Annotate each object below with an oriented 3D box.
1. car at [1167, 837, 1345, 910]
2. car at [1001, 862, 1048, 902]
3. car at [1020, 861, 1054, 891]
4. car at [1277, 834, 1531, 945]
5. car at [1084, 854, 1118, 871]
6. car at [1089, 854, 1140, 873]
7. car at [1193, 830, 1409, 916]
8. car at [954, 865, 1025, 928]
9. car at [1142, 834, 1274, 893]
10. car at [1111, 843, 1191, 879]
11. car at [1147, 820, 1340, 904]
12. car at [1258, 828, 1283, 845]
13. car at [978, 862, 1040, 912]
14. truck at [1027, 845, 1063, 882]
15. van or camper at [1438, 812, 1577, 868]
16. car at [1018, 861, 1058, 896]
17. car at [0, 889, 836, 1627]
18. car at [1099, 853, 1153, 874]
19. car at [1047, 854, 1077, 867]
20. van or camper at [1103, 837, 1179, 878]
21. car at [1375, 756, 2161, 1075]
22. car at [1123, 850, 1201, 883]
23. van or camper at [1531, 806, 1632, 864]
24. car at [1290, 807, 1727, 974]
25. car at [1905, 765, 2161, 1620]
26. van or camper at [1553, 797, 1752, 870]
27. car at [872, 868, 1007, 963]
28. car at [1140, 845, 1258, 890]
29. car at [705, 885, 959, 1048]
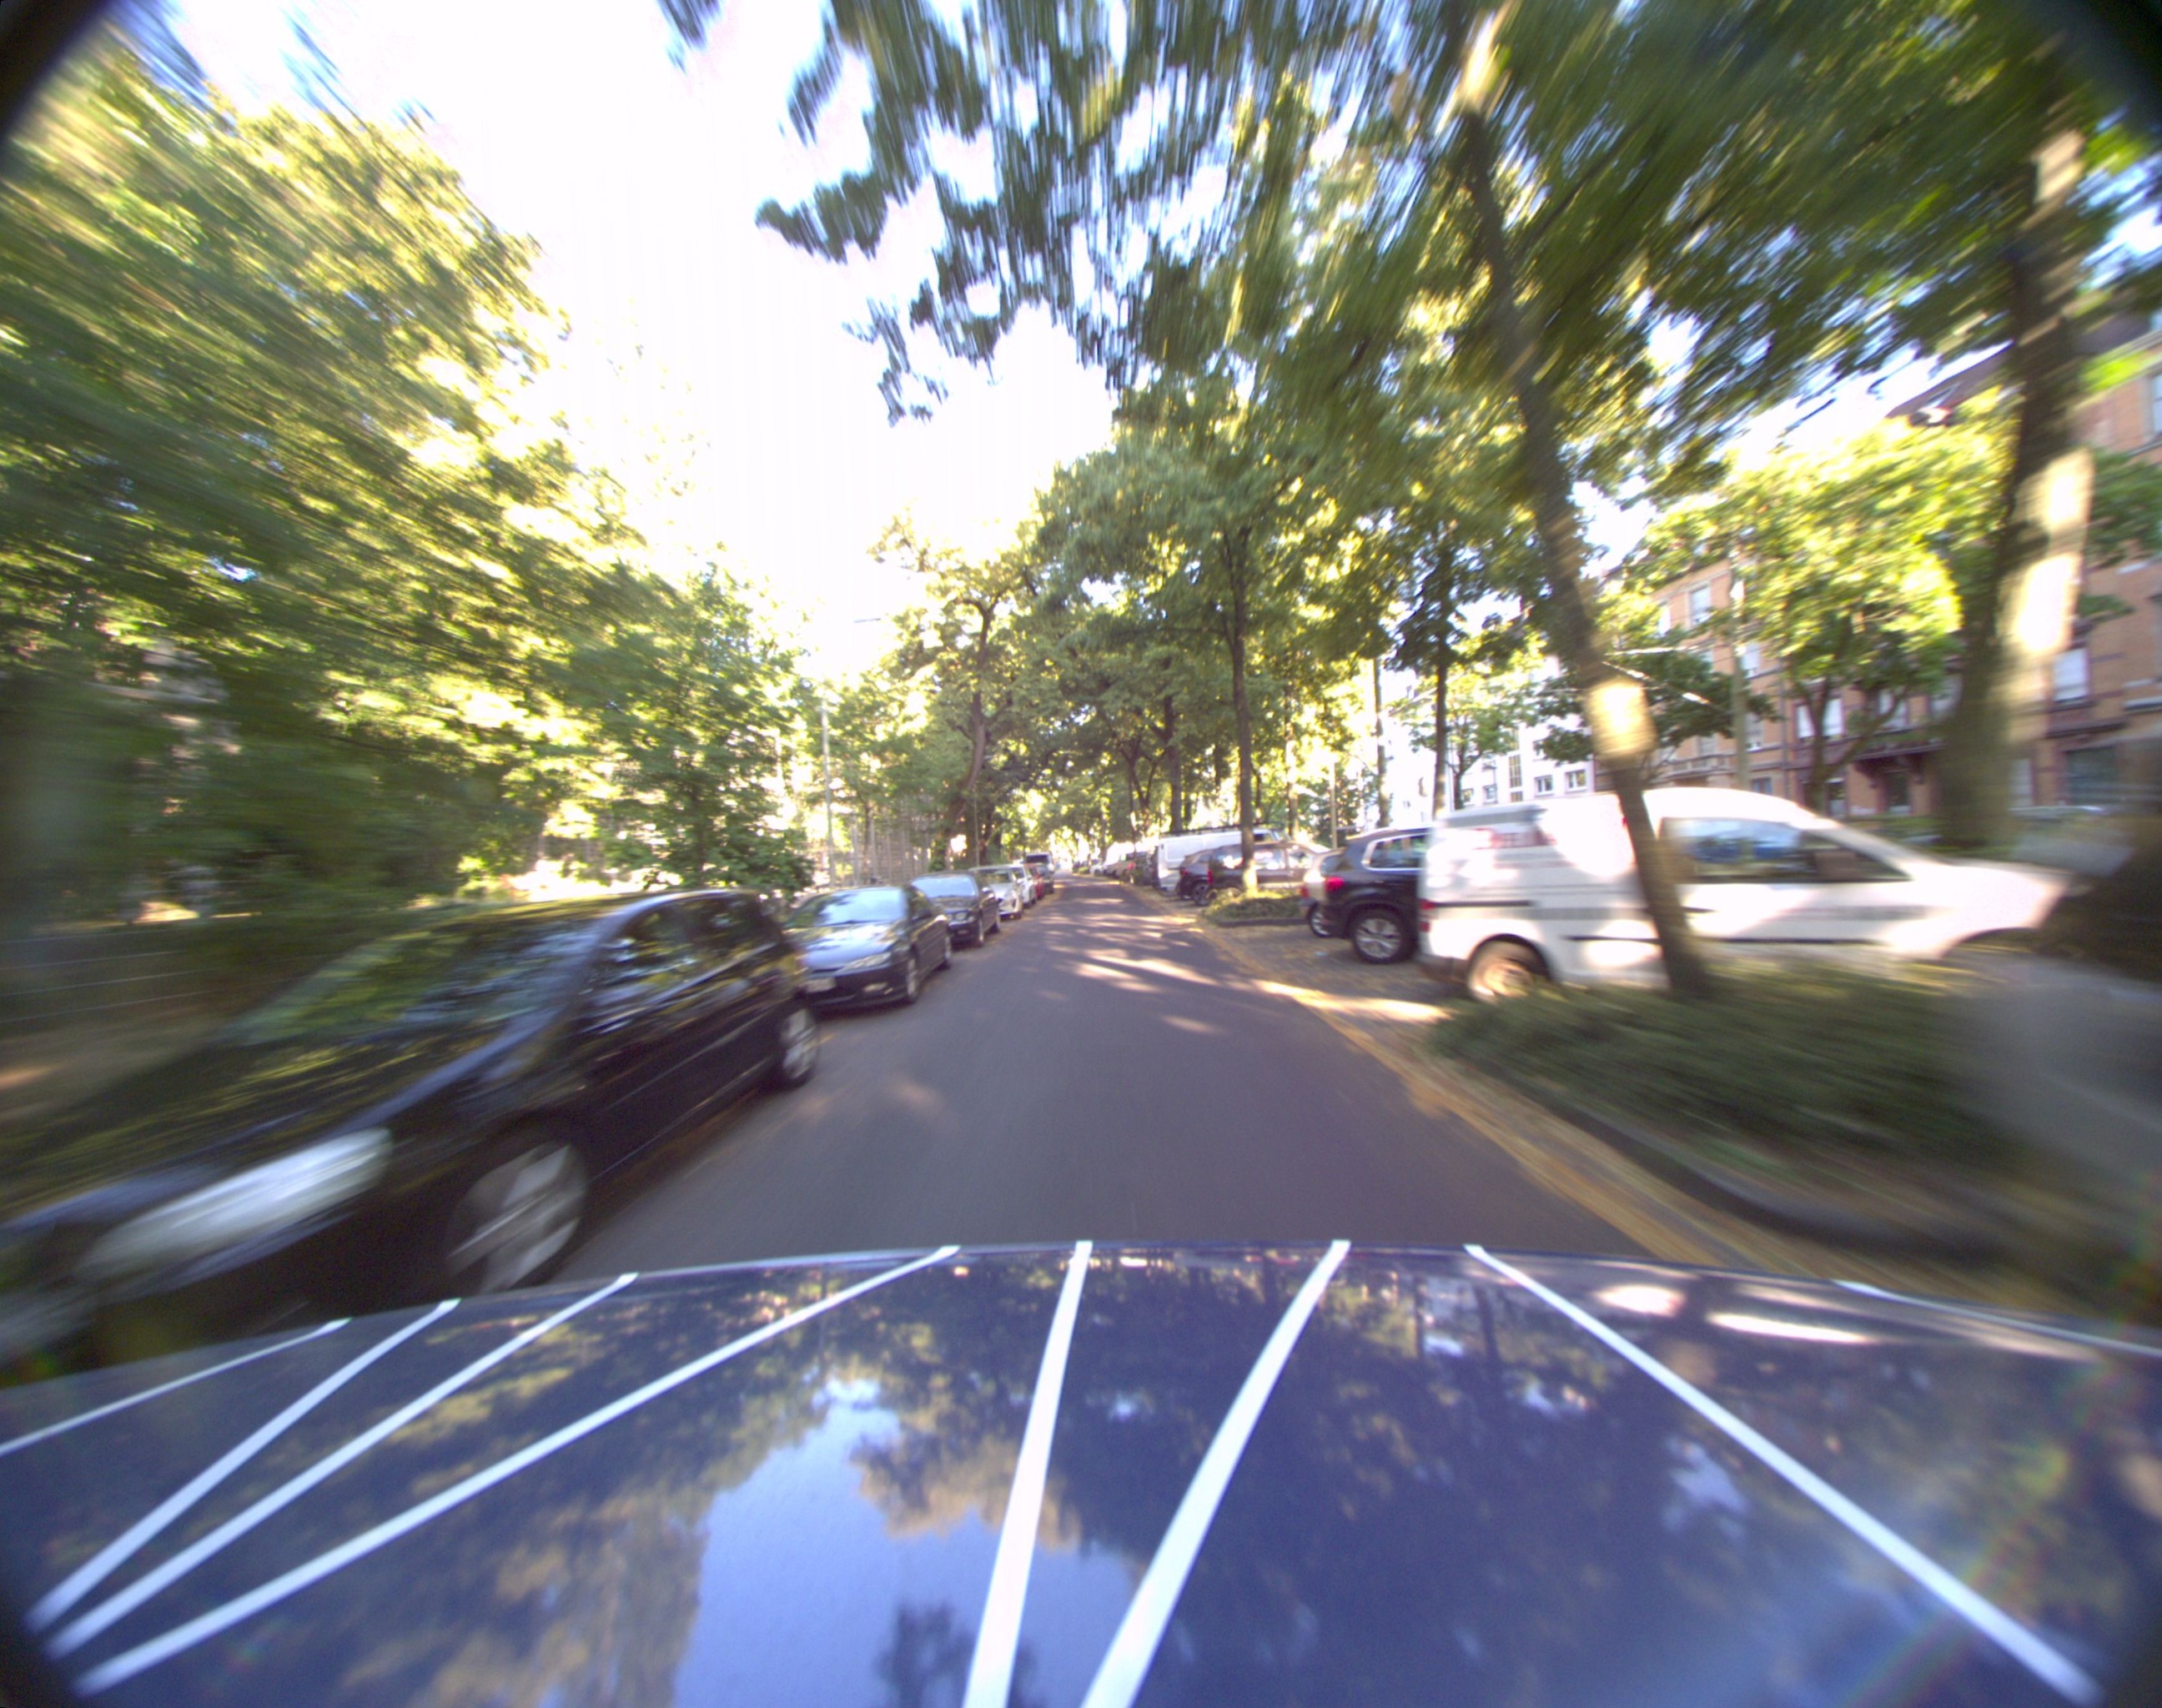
[{"bbox_3d":[4.975,0.557,21.602,4.510,1.607,1.937,-6,0,24],"label":"car"},{"bbox_3d":[-2.270,1.093,31.216,1.595,1.445,3.554,-3,0,0],"label":"car"},{"bbox_3d":[-2.355,1.171,41.680,1.677,1.445,3.948,-3,0,-1],"label":"car"},{"bbox_3d":[5.166,0.581,12.180,3.420,1.417,1.837,-6,0,31],"label":"car"},{"bbox_3d":[2.275,0.942,85.046,3.346,1.558,1.574,-6,-1,23],"label":"car"},{"bbox_3d":[3.241,0.933,73.178,4.456,1.396,1.860,-6,-1,25],"label":"car"},{"bbox_3d":[5.217,0.478,18.225,4.509,1.607,1.857,-6,0,32],"label":"car"},{"bbox_3d":[-2.428,1.091,21.036,1.685,1.445,4.074,-3,0,-4],"label":"car"},{"bbox_3d":[5.077,0.399,30.570,4.702,1.931,1.938,-6,0,33],"label":"car"},{"bbox_3d":[4.752,0.485,51.670,4.875,1.966,2.048,-5,1,28],"label":"car"},{"bbox_3d":[5.161,0.275,24.349,5.502,2.124,2.084,-6,0,30],"label":"car"},{"bbox_3d":[25.242,-2.321,101.308,1.999,2.002,3.998,-2,0,-5],"label":"car"},{"bbox_3d":[-2.390,1.075,26.015,1.685,1.445,4.076,-3,0,0],"label":"car"},{"bbox_3d":[-2.560,0.662,54.914,2.302,2.372,6.932,-3,0,-2],"label":"truck"},{"bbox_3d":[20.490,-0.630,36.808,5.664,2.454,2.003,-2,0,24],"label":"van or camper"},{"bbox_3d":[-2.009,1.133,36.449,1.677,1.445,3.948,-3,0,-1],"label":"car"},{"bbox_3d":[-2.886,1.080,3.931,1.684,1.517,4.287,-3,0,1],"label":"car"},{"bbox_3d":[3.968,0.825,66.816,4.235,1.432,1.859,-6,0,25],"label":"car"},{"bbox_3d":[-3.061,1.099,121.282,4.435,1.613,1.636,-6,1,16],"label":"car"},{"bbox_3d":[4.304,0.272,54.902,4.875,2.456,2.048,-5,1,26],"label":"van or camper"},{"bbox_3d":[4.888,0.445,6.184,4.150,1.771,1.887,-6,0,37],"label":"car"},{"bbox_3d":[4.527,0.712,42.767,3.815,1.430,1.828,-6,0,34],"label":"car"},{"bbox_3d":[28.753,-1.032,43.961,2.080,3.091,5.513,0,0,-2],"label":"van or camper"},{"bbox_3d":[4.987,0.475,9.310,4.150,1.635,1.918,-6,0,33],"label":"car"},{"bbox_3d":[4.272,0.516,0.229,4.991,1.771,1.990,-6,0,28],"label":"car"},{"bbox_3d":[20.811,-0.683,28.064,5.538,2.357,2.311,-2,0,27],"label":"van or camper"},{"bbox_3d":[-2.613,1.082,15.115,1.684,1.415,4.659,-3,0,1],"label":"car"},{"bbox_3d":[5.122,0.599,33.229,4.561,1.532,1.938,-6,0,33],"label":"car"},{"bbox_3d":[-2.678,1.148,9.285,1.685,1.275,4.287,-3,0,-1],"label":"car"}]
